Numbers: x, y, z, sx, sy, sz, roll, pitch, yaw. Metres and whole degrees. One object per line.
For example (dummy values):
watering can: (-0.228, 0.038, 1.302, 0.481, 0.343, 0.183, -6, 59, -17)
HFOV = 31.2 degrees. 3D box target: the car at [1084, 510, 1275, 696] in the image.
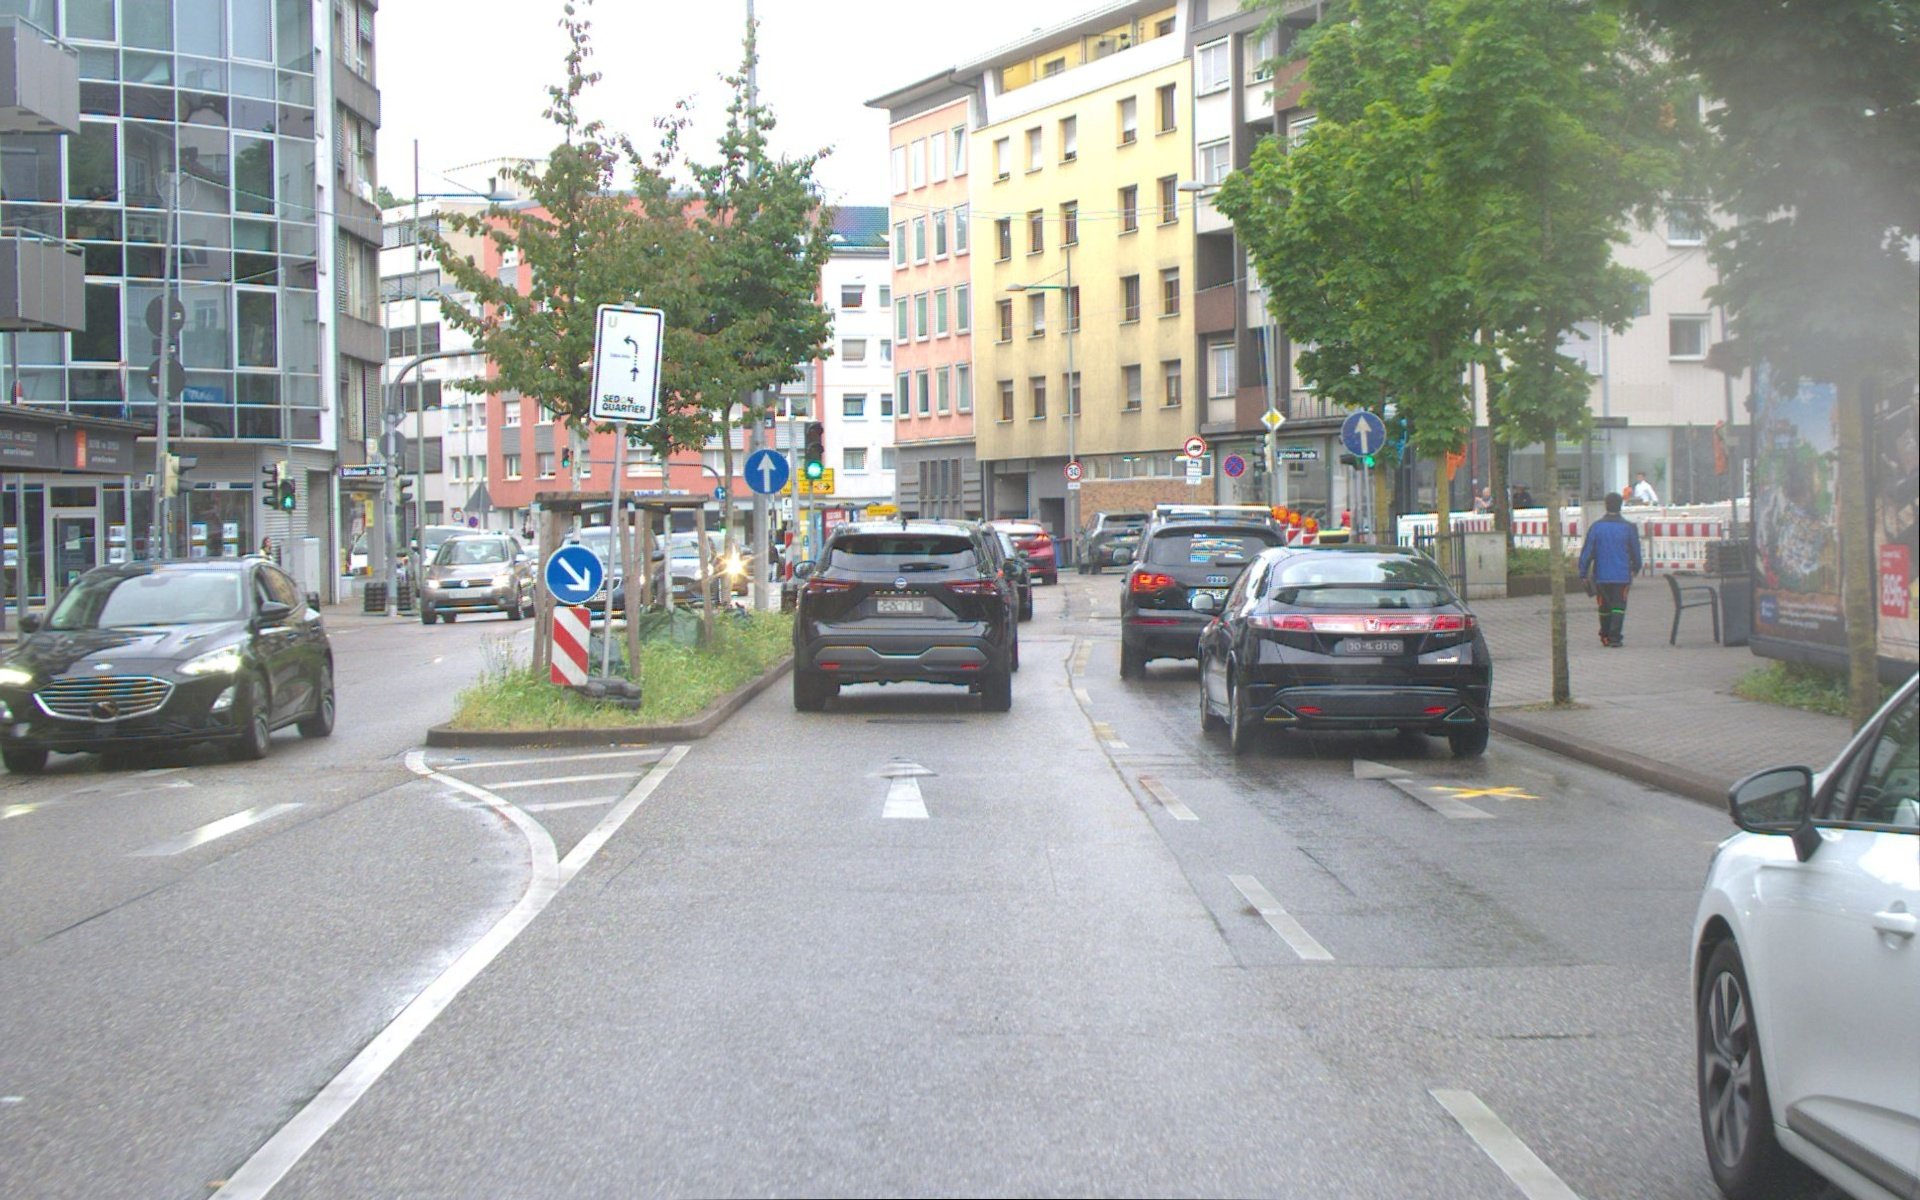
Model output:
car: (2.267, -0.015, 36.347, 1.830, 1.799, 3.719, 1, 2, 1)

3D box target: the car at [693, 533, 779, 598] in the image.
car: (-5.038, -0.805, 77.654, 1.670, 1.365, 3.753, -2, 1, -1)

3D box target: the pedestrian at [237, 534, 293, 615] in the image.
pedestrian: (-13.863, -0.504, 68.553, 0.781, 1.585, 0.763, -3, 1, -37)

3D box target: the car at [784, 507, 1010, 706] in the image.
car: (-0.507, 0.014, 29.853, 1.823, 1.595, 3.719, 1, 1, 0)

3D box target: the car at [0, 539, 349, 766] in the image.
car: (-5.742, 0.321, 25.234, 1.720, 1.418, 4.165, -3, 1, 0)

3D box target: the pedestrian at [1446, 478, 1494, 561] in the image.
pedestrian: (12.437, -1.969, 83.877, 0.821, 2.006, 0.840, 0, 2, -19)

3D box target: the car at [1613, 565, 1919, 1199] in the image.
car: (2.498, 0.683, 6.442, 1.665, 1.391, 3.867, -2, 2, -2)

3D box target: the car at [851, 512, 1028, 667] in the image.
car: (-0.204, -0.150, 37.663, 1.823, 1.595, 3.719, 1, 1, 0)

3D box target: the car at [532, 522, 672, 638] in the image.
car: (-5.560, -0.346, 53.784, 1.683, 1.655, 4.096, -3, 1, 0)

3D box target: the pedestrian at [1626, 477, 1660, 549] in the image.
pedestrian: (17.030, -2.171, 85.740, 0.528, 1.763, 0.623, 0, 2, -30)

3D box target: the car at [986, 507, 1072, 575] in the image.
car: (1.473, -1.278, 74.278, 1.641, 1.376, 3.349, -2, 1, -2)

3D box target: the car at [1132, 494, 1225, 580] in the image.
car: (4.454, -1.311, 70.281, 1.830, 1.678, 3.718, 1, 2, 3)

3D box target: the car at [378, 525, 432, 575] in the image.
car: (-16.808, -1.532, 104.068, 1.455, 1.425, 3.371, 1, 2, -11)

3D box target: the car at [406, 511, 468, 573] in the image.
car: (-13.882, -1.532, 91.221, 1.549, 1.565, 3.349, 1, 1, -10)

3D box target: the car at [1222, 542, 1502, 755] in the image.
car: (2.814, 0.288, 24.727, 1.787, 1.395, 3.718, 0, 1, 3)

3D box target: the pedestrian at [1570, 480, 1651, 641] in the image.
pedestrian: (7.254, -0.443, 38.297, 0.792, 1.749, 0.871, -2, 1, 13)

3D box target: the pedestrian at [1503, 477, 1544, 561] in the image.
pedestrian: (13.626, -1.968, 83.137, 0.822, 2.006, 0.839, 2, 2, 18)

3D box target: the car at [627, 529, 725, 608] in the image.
car: (-5.533, -0.635, 67.287, 1.532, 1.408, 3.937, -3, 1, 0)

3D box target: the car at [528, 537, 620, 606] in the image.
car: (-8.629, -0.649, 77.013, 1.632, 1.403, 3.438, -3, 1, -1)

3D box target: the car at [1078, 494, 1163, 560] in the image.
car: (4.103, -1.897, 88.341, 1.708, 1.605, 3.729, 1, 2, -4)

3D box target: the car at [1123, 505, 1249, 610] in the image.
car: (3.575, -0.702, 54.874, 1.830, 1.557, 3.719, 1, 2, 1)

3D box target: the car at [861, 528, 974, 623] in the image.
car: (-0.690, -0.405, 53.626, 1.641, 1.376, 3.349, -2, 1, -2)

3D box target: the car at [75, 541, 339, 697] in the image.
car: (-8.094, 0.150, 37.377, 1.708, 1.463, 4.829, -4, 1, 0)

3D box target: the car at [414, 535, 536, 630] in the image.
car: (-8.819, -0.345, 62.817, 1.632, 1.586, 3.937, -3, 1, -1)
